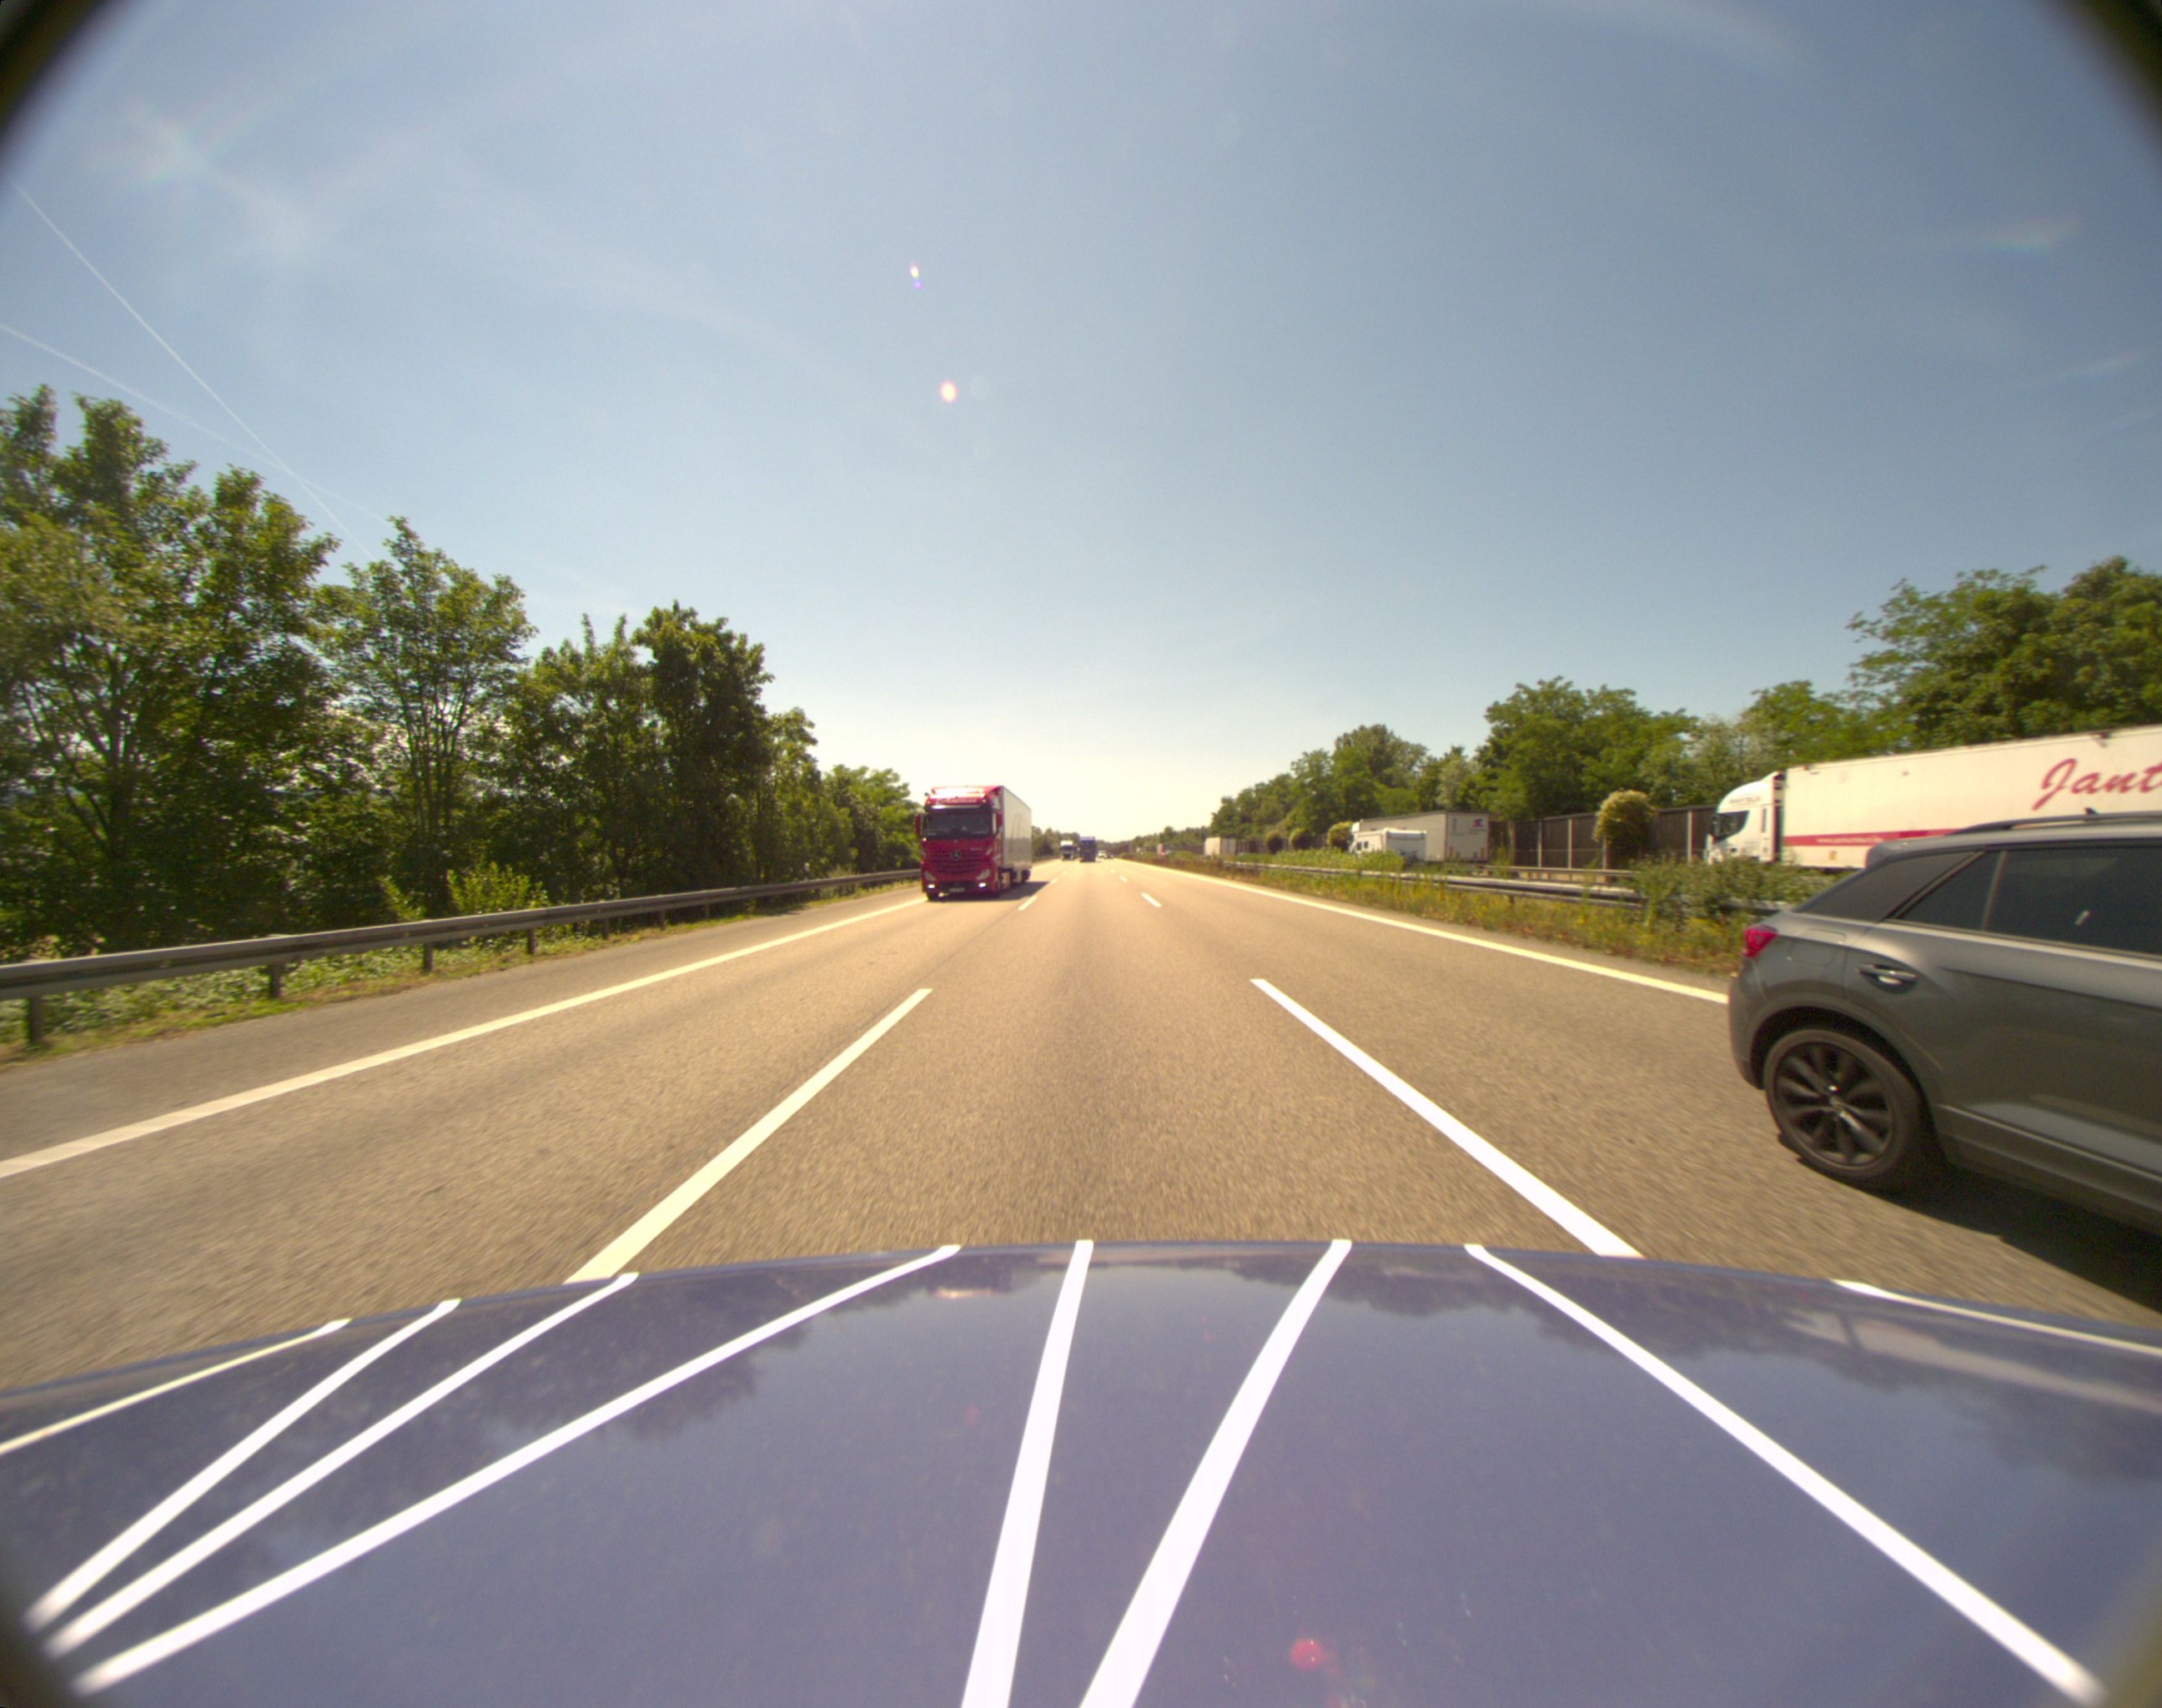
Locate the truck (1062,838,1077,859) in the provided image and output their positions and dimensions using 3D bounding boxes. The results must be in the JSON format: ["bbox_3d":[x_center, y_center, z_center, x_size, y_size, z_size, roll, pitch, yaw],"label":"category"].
[{"bbox_3d":[-2.245,-1.104,157.270,2.820,4.139,10.448,-1,0,0],"label":"truck"}]

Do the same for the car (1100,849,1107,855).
[{"bbox_3d":[5.980,-0.500,201.152,1.855,1.559,4.000,-1,0,1],"label":"car"}]

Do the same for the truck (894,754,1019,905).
[{"bbox_3d":[-4.357,-0.783,28.351,3.242,4.860,6.972,-1,0,1],"label":"truck"}]

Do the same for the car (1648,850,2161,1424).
[{"bbox_3d":[4.022,0.794,1.594,1.885,1.630,5.009,-1,0,-1],"label":"car"}]

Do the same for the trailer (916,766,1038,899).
[{"bbox_3d":[-4.210,-0.738,34.852,3.277,4.809,14.030,-1,0,1],"label":"trailer"}]

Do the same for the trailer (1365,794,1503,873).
[{"bbox_3d":[22.511,-1.222,49.720,3.174,4.452,12.952,-1,1,1],"label":"trailer"}]

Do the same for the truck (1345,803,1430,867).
[{"bbox_3d":[22.636,-1.342,56.615,3.225,4.414,7.870,-1,1,1],"label":"truck"}]

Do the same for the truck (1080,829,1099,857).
[{"bbox_3d":[1.315,-1.689,119.002,2.707,4.093,6.991,-1,0,1],"label":"truck"}]

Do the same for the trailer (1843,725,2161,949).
[{"bbox_3d":[21.485,-0.345,13.983,2.849,4.149,12.221,-1,0,1],"label":"trailer"}]

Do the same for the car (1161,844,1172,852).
[{"bbox_3d":[19.390,-1.343,171.711,1.998,1.587,4.506,0,0,1],"label":"car"}]

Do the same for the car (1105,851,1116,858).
[{"bbox_3d":[6.236,0.115,161.123,2.045,1.559,4.000,-1,0,1],"label":"car"}]

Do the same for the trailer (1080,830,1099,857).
[{"bbox_3d":[1.461,-1.613,126.151,2.707,4.093,12.133,-1,0,2],"label":"trailer"}]

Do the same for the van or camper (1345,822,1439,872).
[{"bbox_3d":[17.774,-0.399,43.992,2.471,2.562,7.410,-1,1,1],"label":"van or camper"}]

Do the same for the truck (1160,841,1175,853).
[{"bbox_3d":[24.932,-1.940,219.275,2.845,3.322,17.006,-1,0,1],"label":"truck"}]

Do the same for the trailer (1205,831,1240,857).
[{"bbox_3d":[23.071,-1.571,124.636,3.619,4.079,12.796,0,0,1],"label":"trailer"}]

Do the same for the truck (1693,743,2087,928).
[{"bbox_3d":[21.608,-0.429,21.233,2.849,4.182,7.714,-1,0,1],"label":"truck"}]
